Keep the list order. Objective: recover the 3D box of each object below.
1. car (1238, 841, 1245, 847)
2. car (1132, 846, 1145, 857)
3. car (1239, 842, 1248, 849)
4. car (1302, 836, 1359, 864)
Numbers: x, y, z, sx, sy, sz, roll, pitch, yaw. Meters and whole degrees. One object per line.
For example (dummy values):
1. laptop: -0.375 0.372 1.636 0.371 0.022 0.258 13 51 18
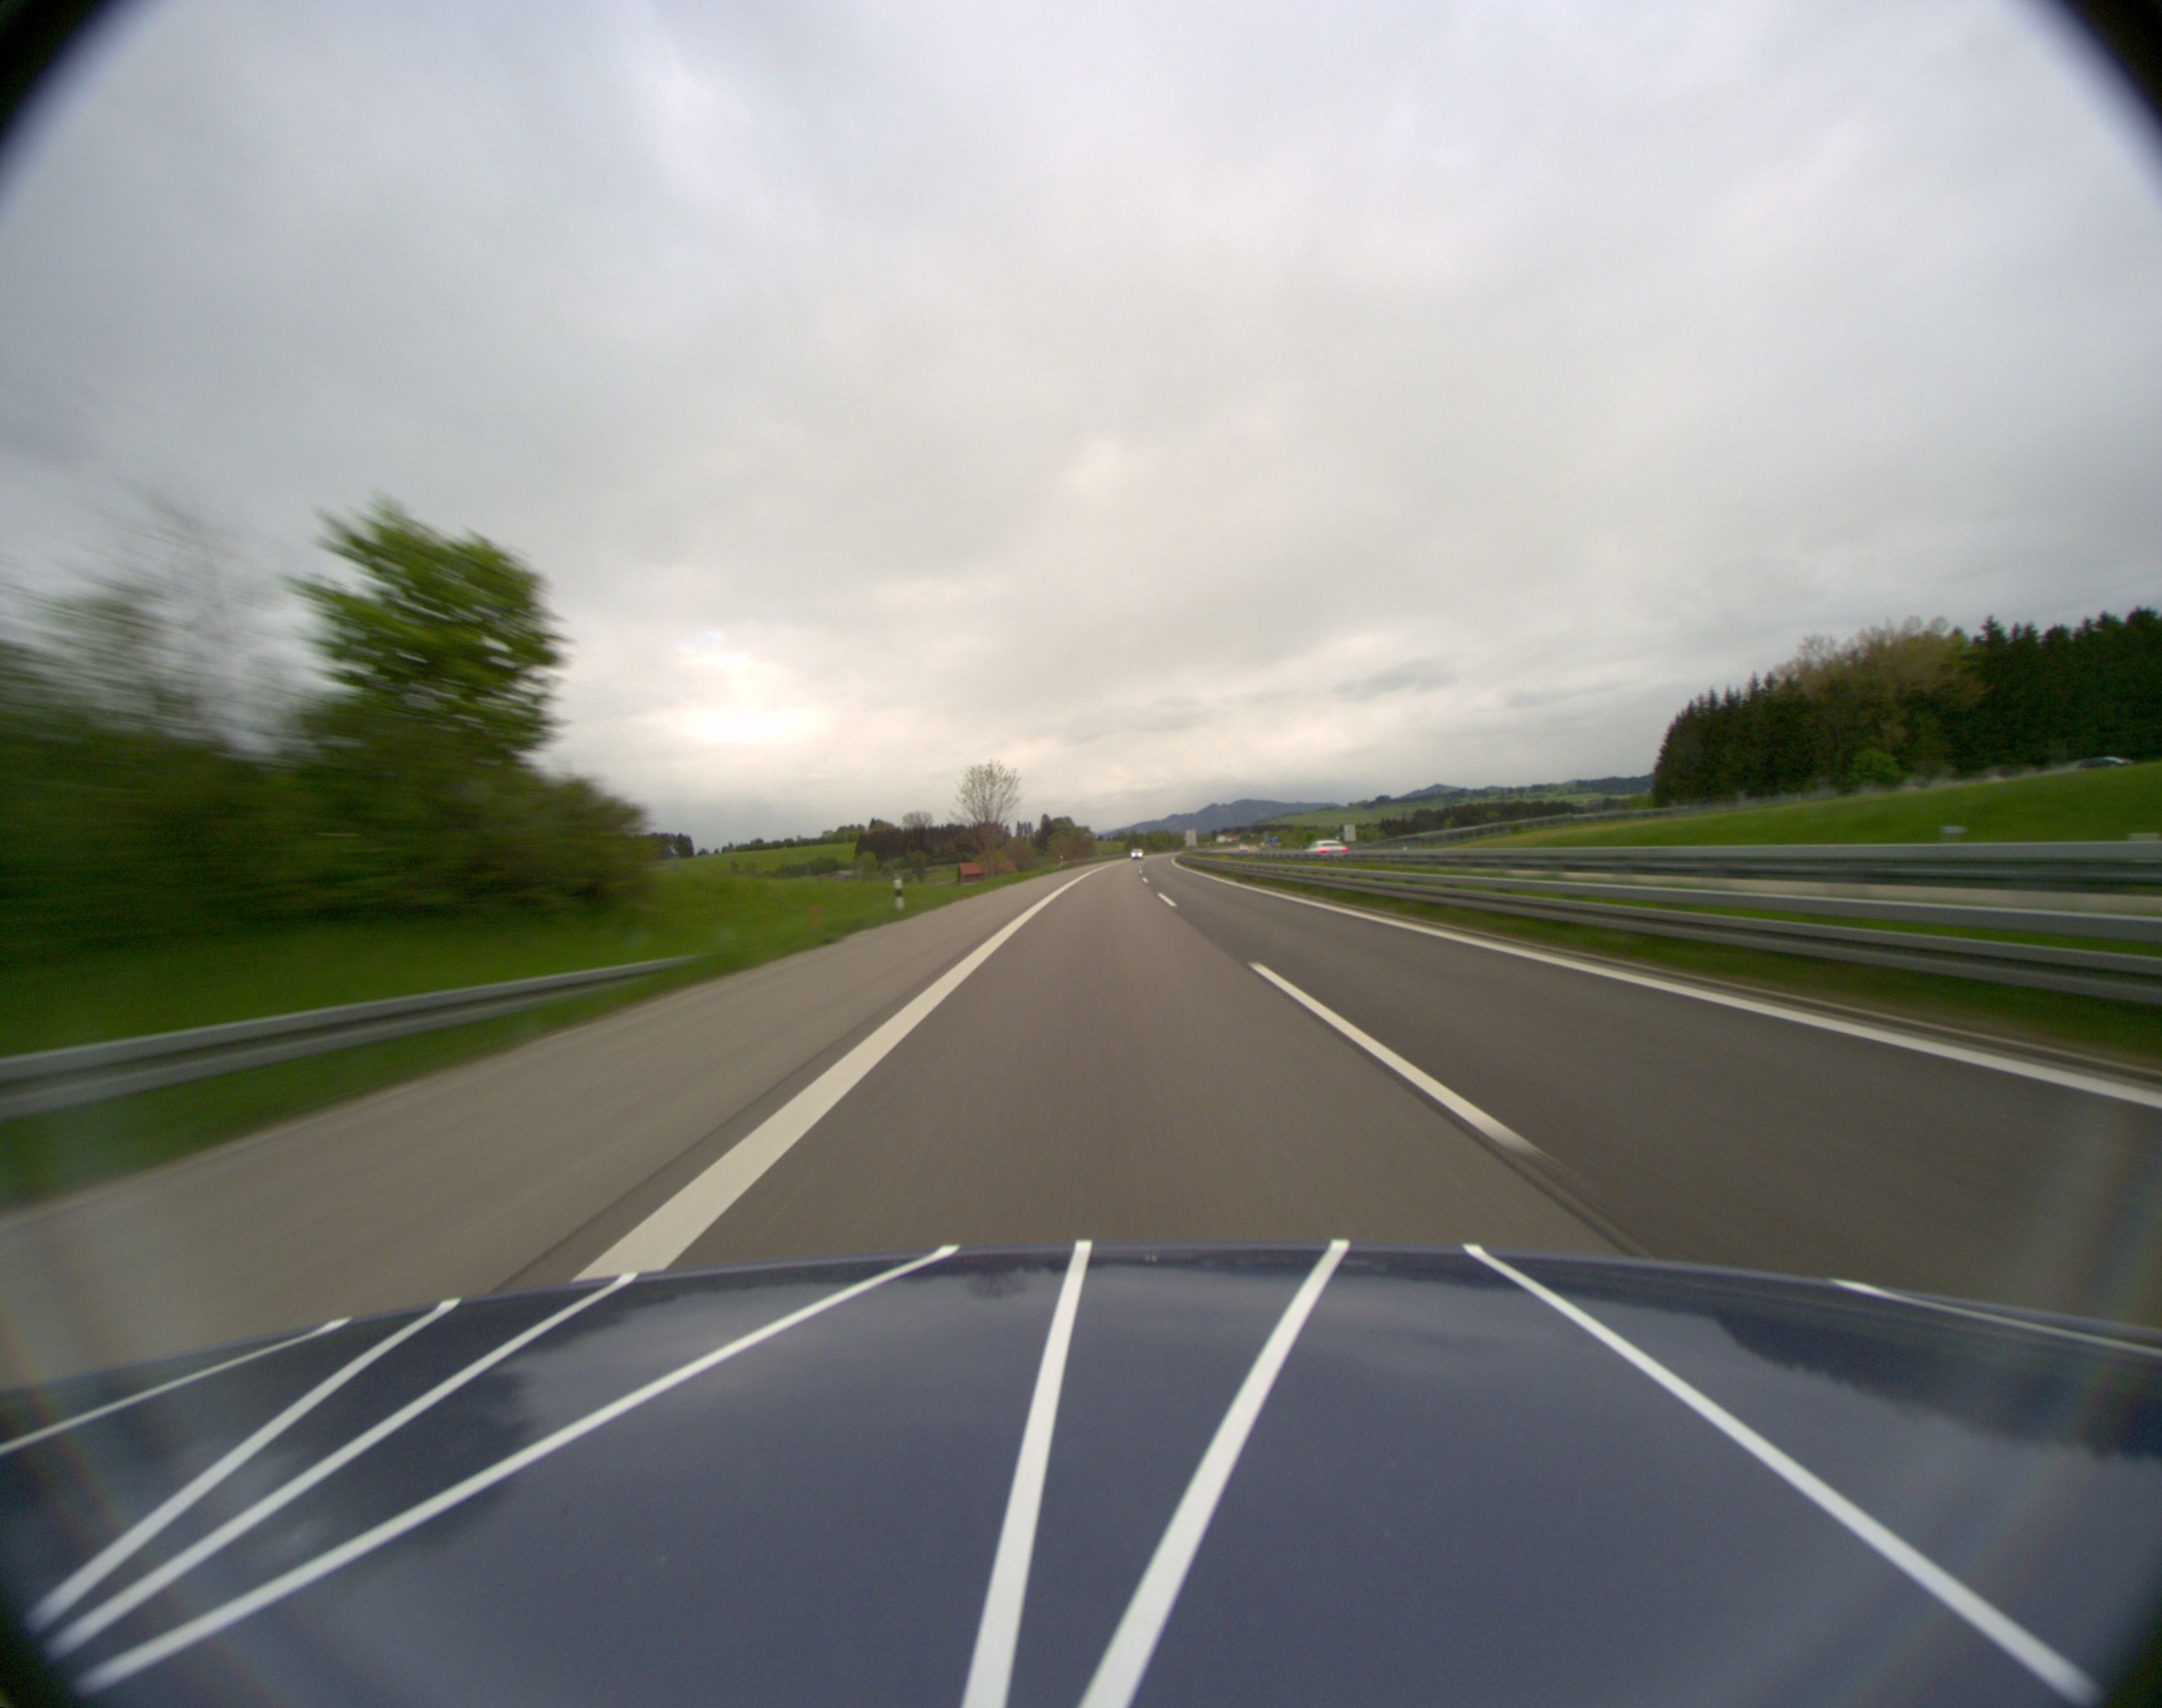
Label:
1. car: 50.994 -3.203 241.380 1.997 1.676 4.631 -5 0 12
2. car: 10.216 -0.444 134.430 2.020 1.899 4.222 -2 0 6
3. car: 40.507 -2.064 189.138 2.039 1.680 5.059 -5 0 11
4. car: 15.044 -0.222 46.126 1.998 1.420 4.463 -5 0 2
